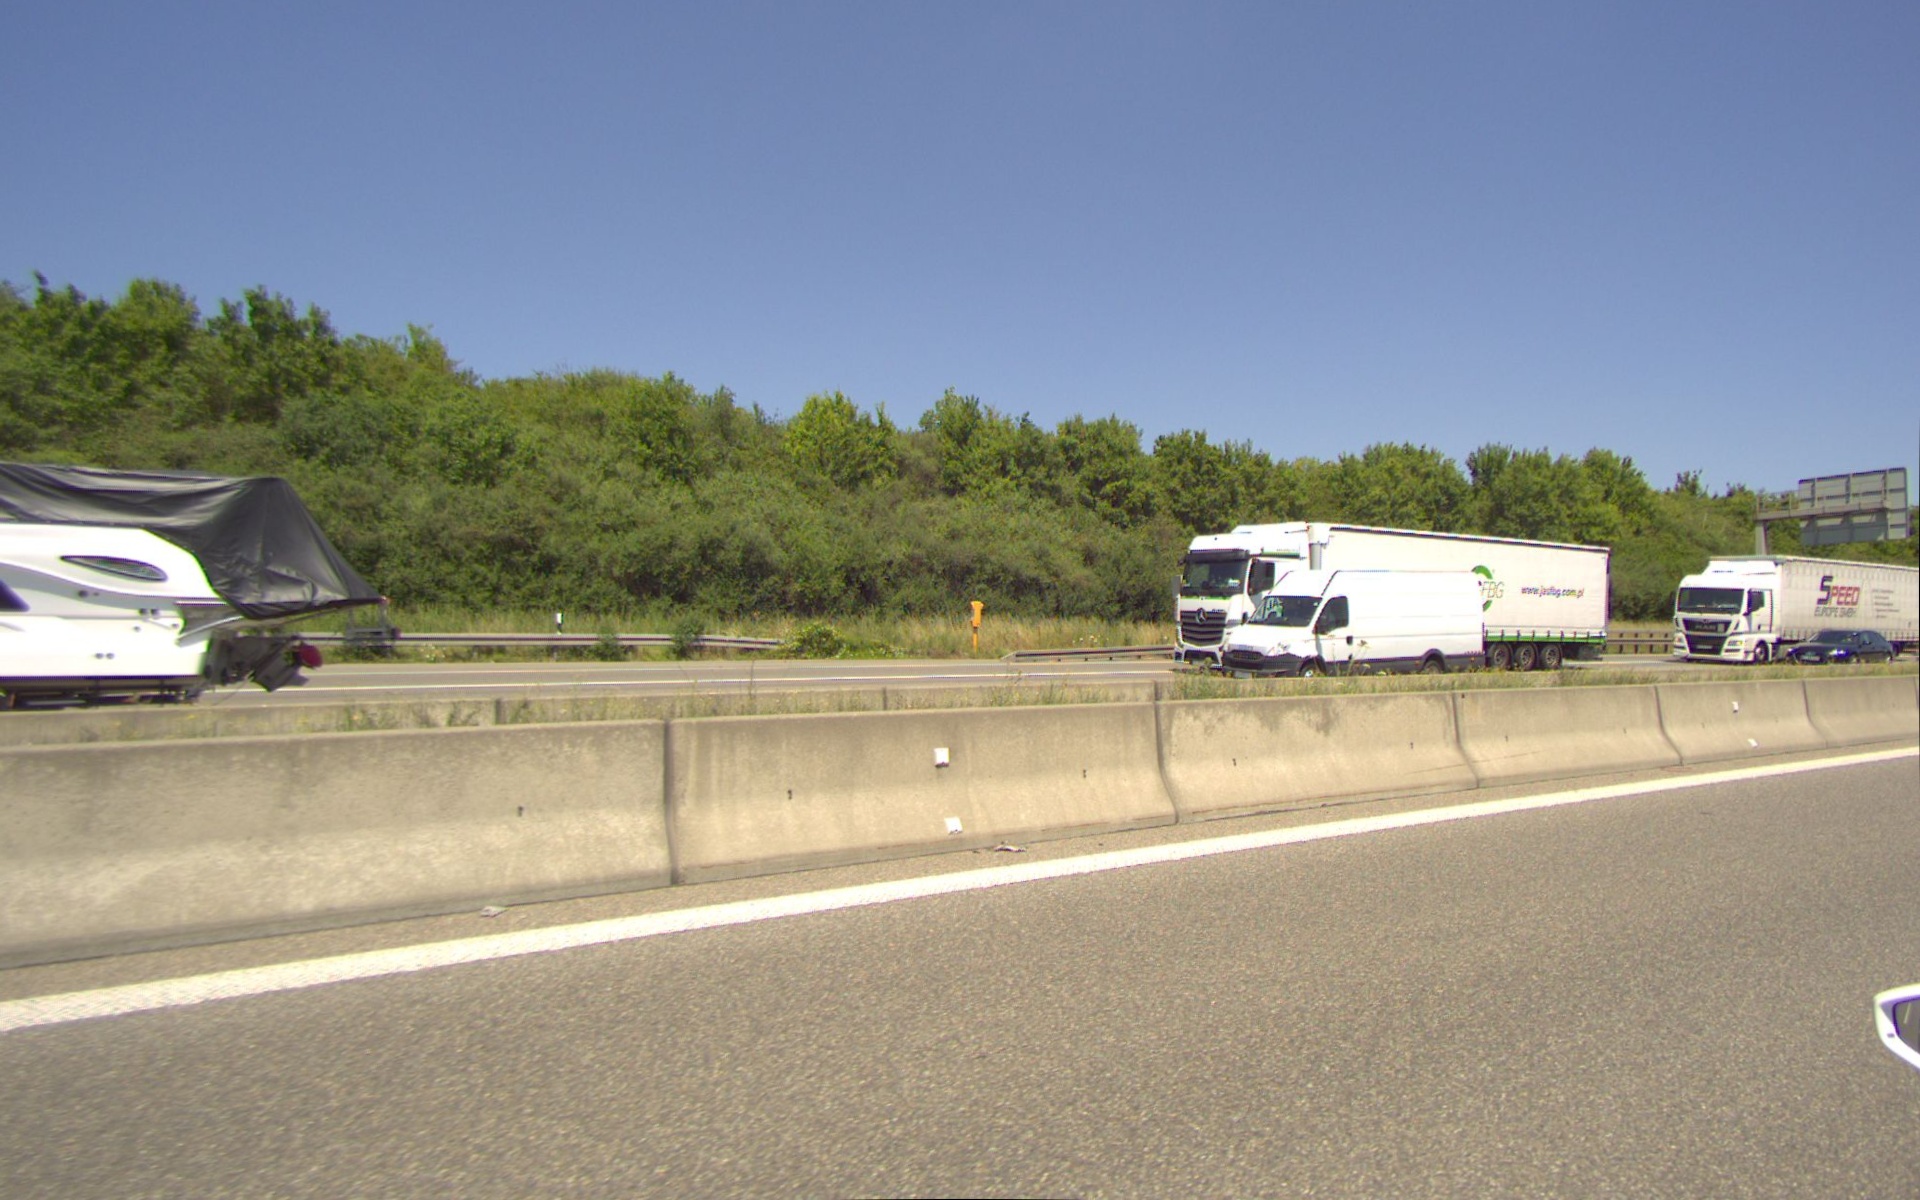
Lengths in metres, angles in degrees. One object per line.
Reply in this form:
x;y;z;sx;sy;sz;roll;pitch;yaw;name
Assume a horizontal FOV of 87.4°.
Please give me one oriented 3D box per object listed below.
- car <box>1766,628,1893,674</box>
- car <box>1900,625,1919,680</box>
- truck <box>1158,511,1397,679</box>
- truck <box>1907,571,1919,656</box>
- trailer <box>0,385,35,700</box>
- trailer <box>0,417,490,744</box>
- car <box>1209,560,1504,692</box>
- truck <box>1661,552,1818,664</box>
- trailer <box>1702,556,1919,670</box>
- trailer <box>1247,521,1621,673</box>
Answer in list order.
30.436;1.758;35.134;4.866;1.453;1.867;1;0;-30;car
30.428;1.592;30.179;4.541;1.599;1.984;1;-1;-30;car
8.561;-0.064;27.008;5.902;4.060;2.836;1;-1;-29;truck
51.211;0.750;50.719;6.520;4.266;2.951;1;0;-27;truck
-19.493;-0.967;10.739;13.620;4.479;3.206;2;-1;-31;trailer
-11.015;-0.238;10.653;10.613;3.226;2.853;2;0;-33;trailer
9.050;0.596;22.563;7.481;2.608;1.889;1;-1;-30;car
30.529;0.323;39.317;6.026;4.097;2.742;1;0;-30;truck
36.744;0.594;42.820;13.699;4.335;2.798;1;0;-29;trailer
14.823;0.076;30.561;13.709;3.924;2.890;1;-1;-29;trailer
